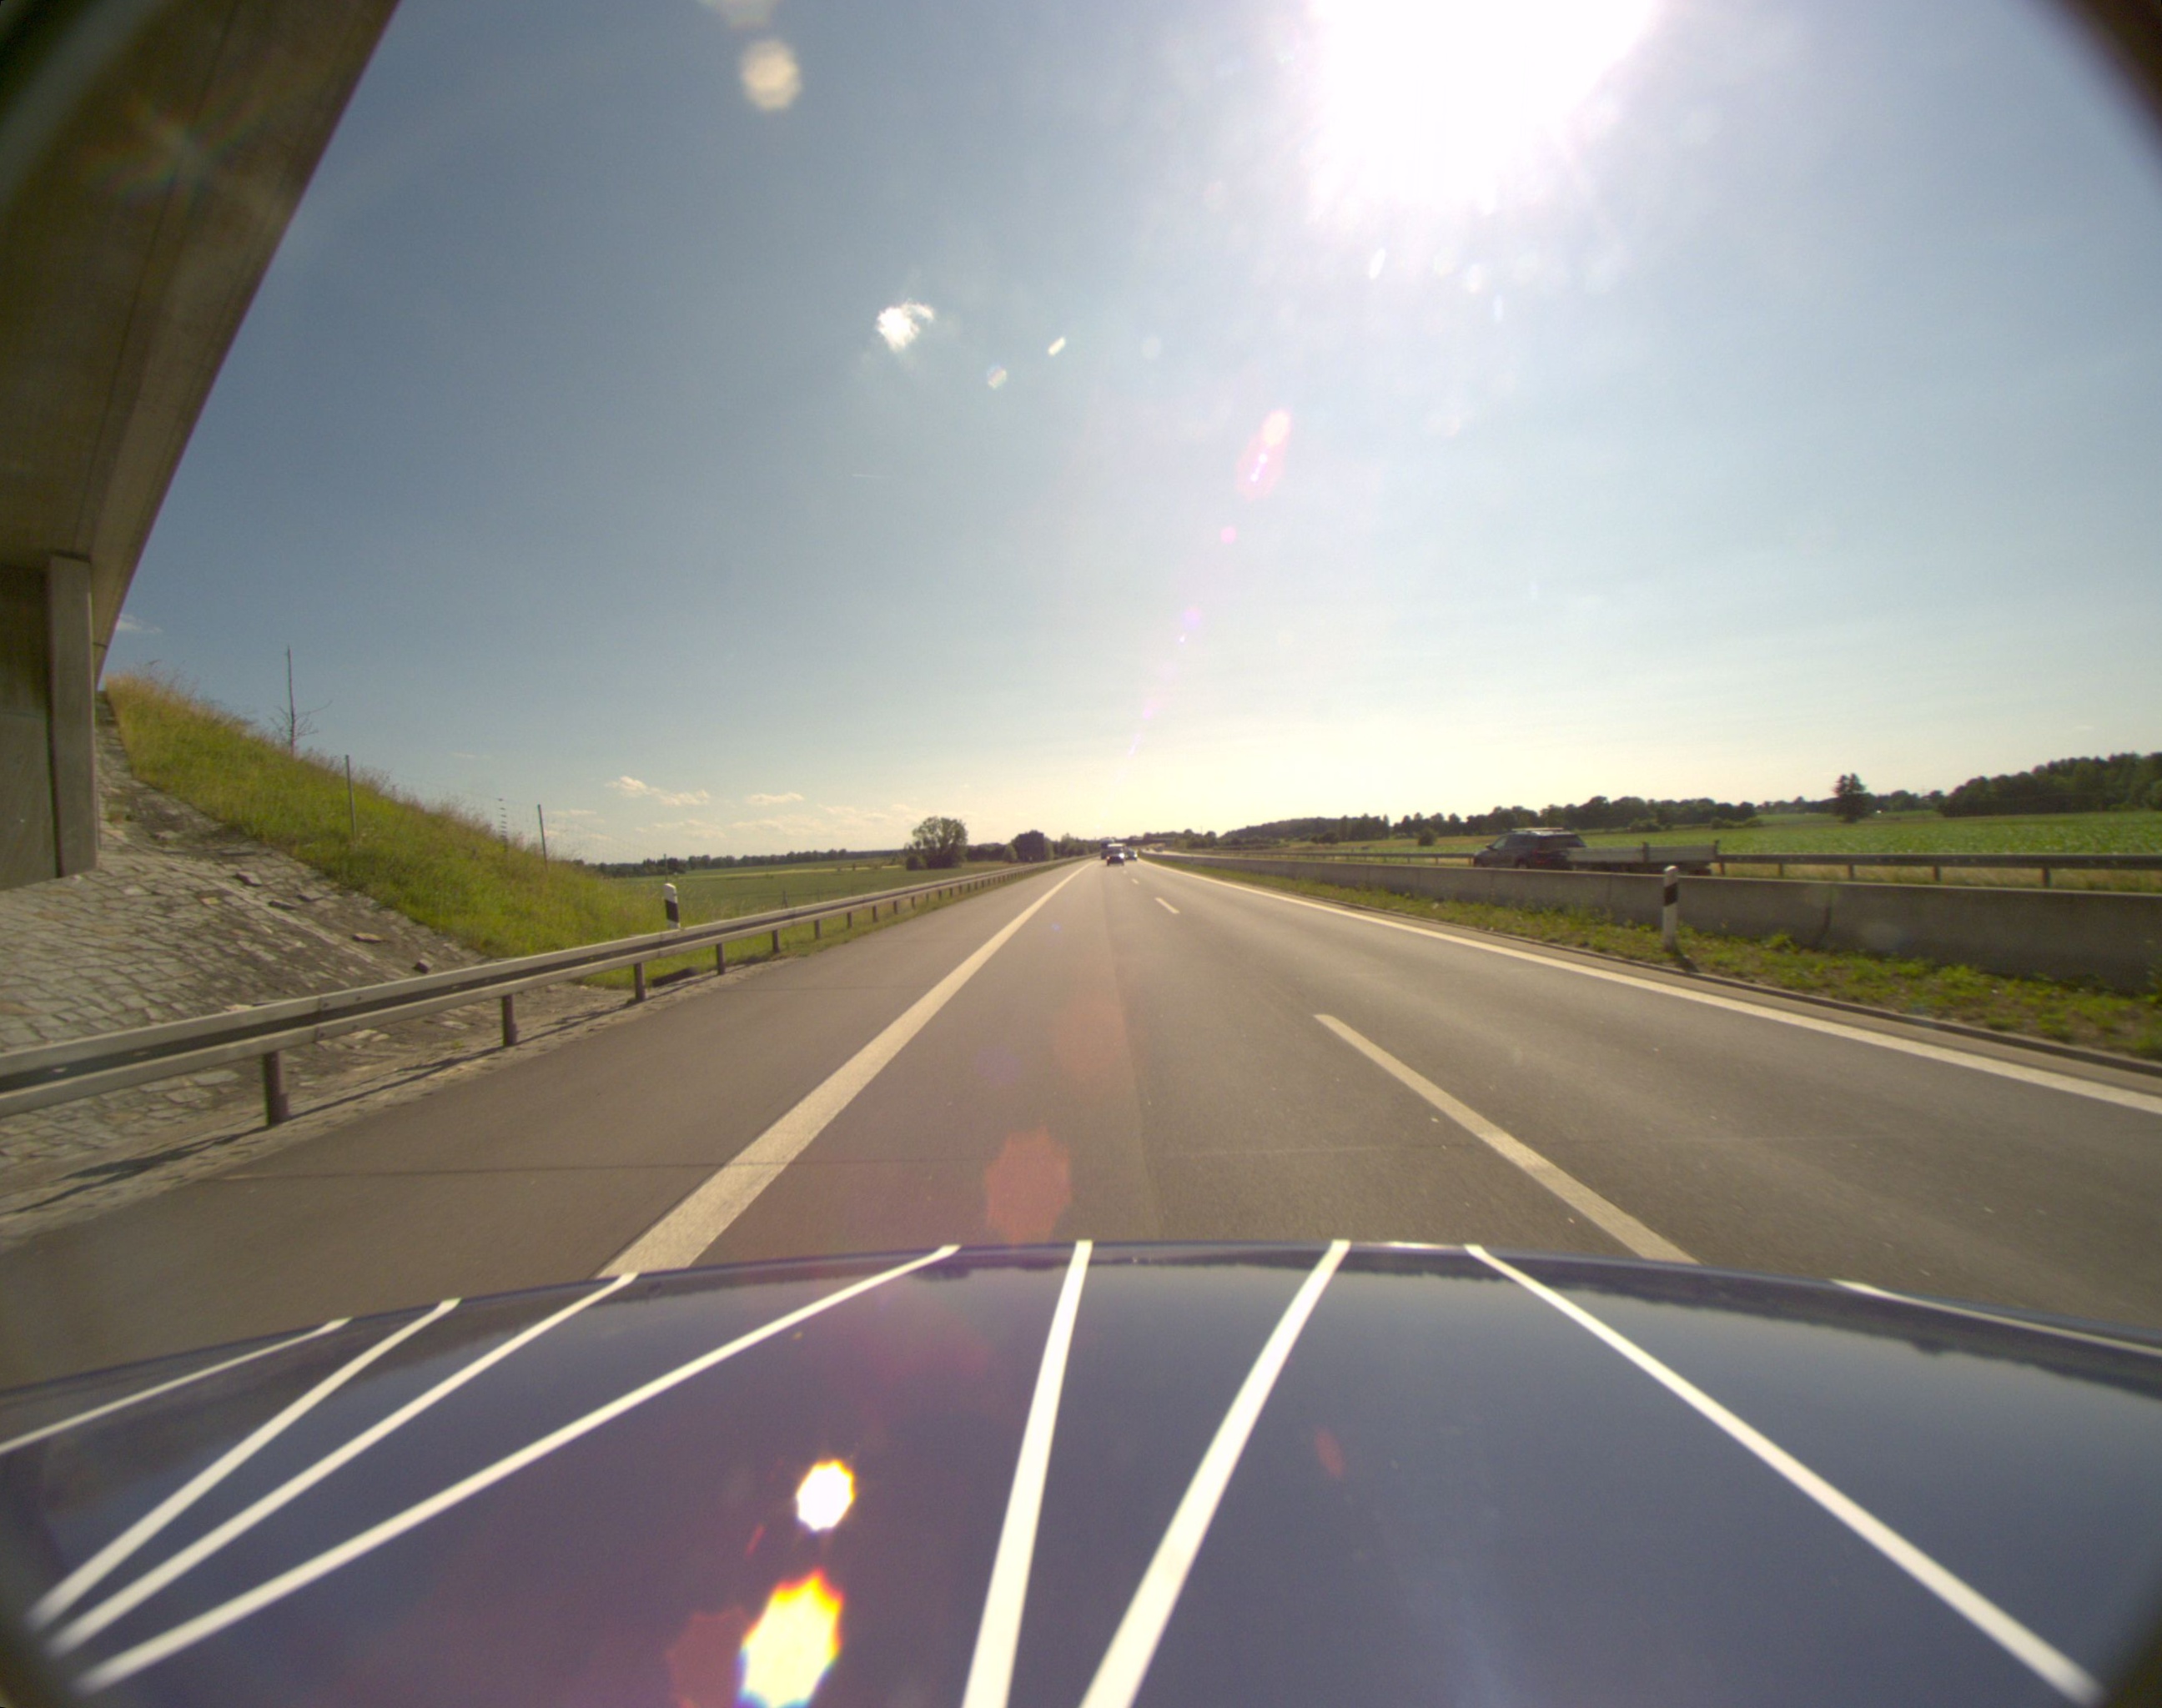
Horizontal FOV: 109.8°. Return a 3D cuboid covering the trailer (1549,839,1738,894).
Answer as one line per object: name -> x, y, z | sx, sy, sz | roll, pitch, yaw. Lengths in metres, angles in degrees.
trailer -> 15.105, 0.283, 20.763 | 1.998, 1.250, 4.262 | -3, 0, 1

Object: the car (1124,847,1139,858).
car -> 7.535, -0.266, 112.994 | 2.030, 1.600, 4.818 | -1, 0, 2

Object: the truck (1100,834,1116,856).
truck -> 5.268, -1.735, 145.830 | 2.762, 3.792, 7.518 | -3, 1, 3

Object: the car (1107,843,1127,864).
car -> 3.968, -0.098, 83.889 | 2.030, 2.225, 4.819 | -2, 1, 3

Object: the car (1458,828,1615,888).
car -> 15.147, 0.113, 25.745 | 1.998, 1.721, 5.587 | -3, 0, 1
